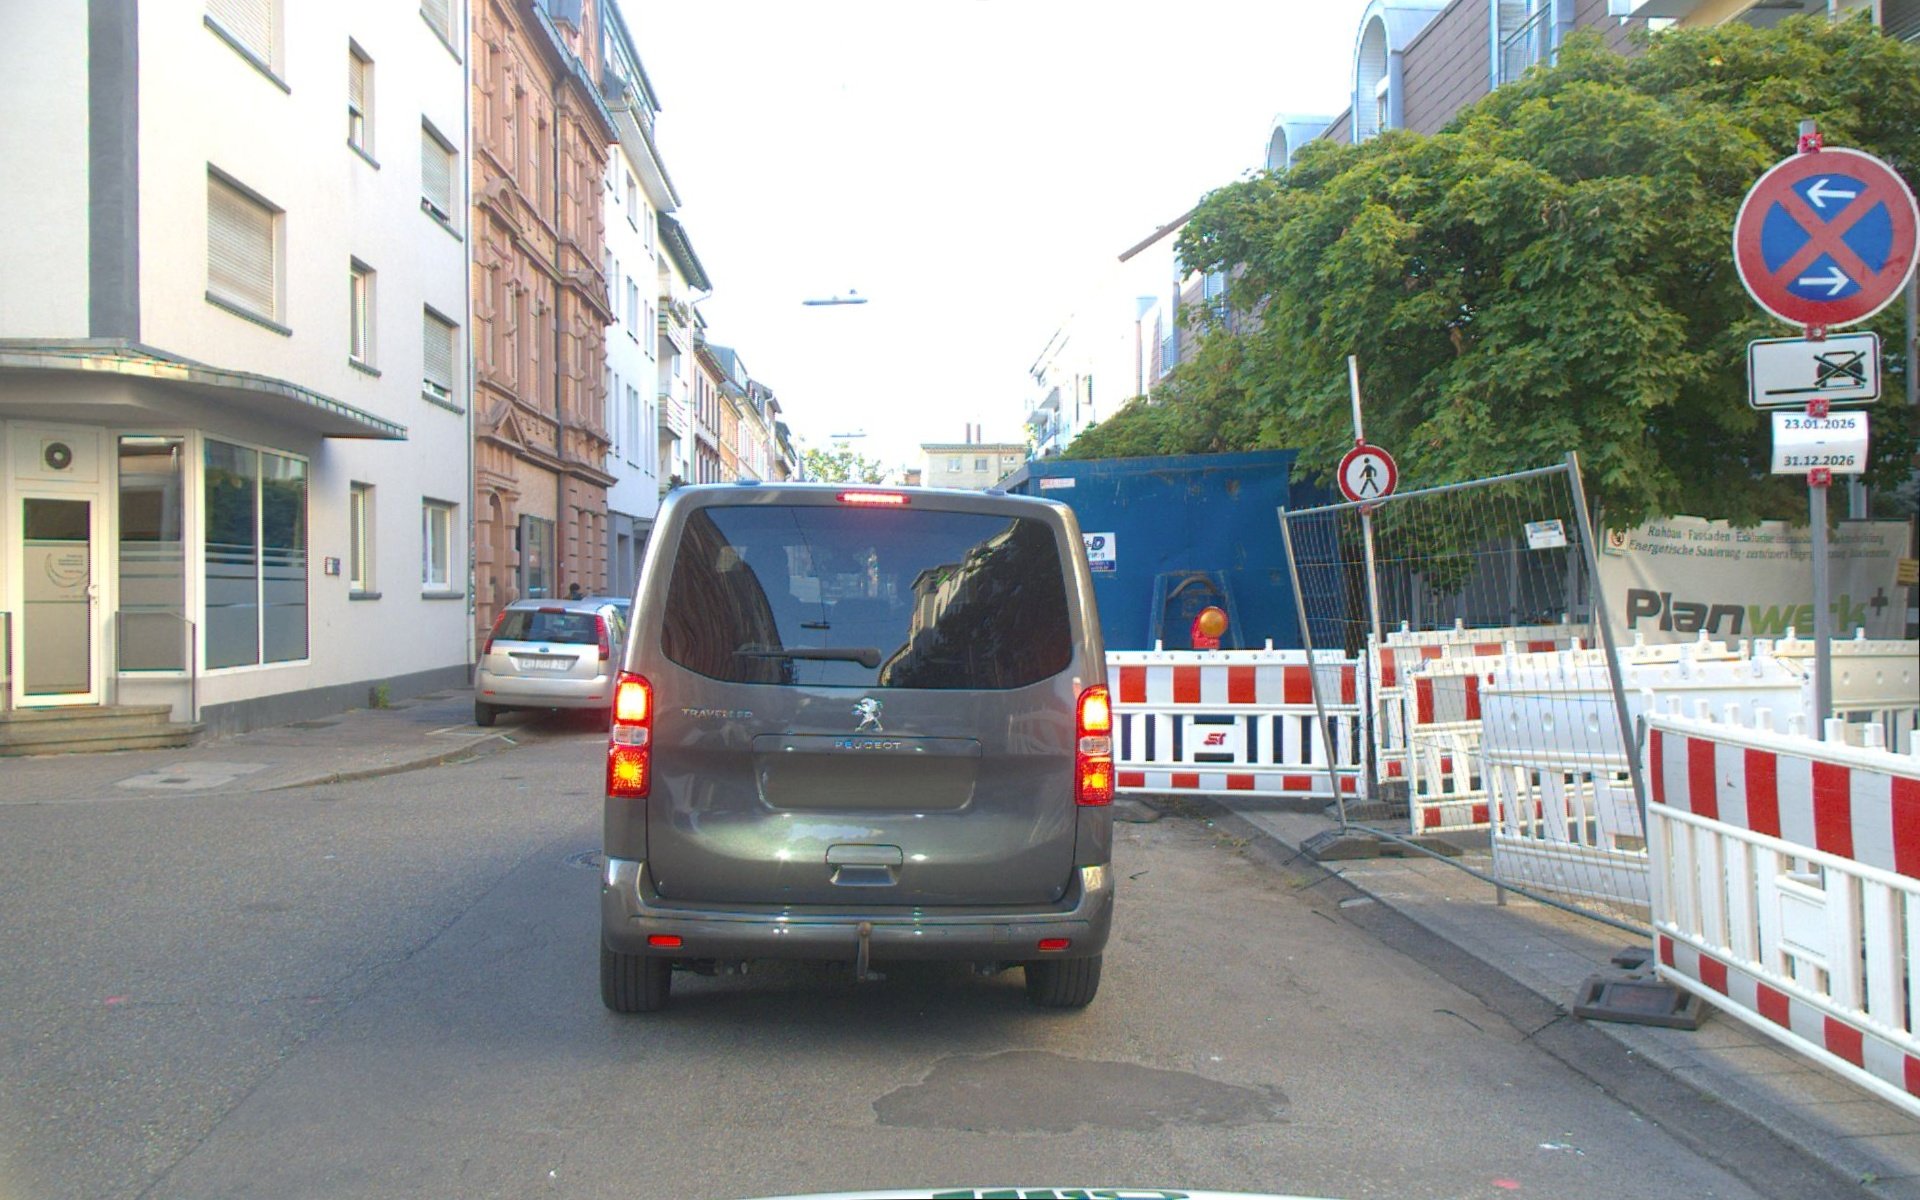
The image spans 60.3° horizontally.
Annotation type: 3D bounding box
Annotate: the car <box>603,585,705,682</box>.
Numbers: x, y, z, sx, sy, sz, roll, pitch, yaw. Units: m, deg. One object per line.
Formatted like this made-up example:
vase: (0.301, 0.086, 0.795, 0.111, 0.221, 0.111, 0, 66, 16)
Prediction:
car: (-5.944, 0.634, 32.424, 1.635, 1.695, 3.087, 4, -1, -7)

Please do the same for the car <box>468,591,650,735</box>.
car: (-4.762, 0.713, 20.048, 1.625, 1.485, 3.413, 4, -1, -7)

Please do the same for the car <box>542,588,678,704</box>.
car: (-5.289, 0.674, 25.350, 1.625, 1.552, 3.413, 4, -1, -7)

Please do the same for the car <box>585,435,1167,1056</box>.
car: (-0.480, 0.470, 7.331, 1.829, 1.919, 4.229, 0, -1, -7)

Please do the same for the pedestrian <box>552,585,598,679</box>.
pedestrian: (-7.031, 0.573, 30.211, 0.726, 1.693, 0.702, 0, 0, -8)

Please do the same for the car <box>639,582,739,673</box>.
car: (-5.844, 0.582, 36.071, 1.856, 1.749, 3.748, 4, -1, -7)
